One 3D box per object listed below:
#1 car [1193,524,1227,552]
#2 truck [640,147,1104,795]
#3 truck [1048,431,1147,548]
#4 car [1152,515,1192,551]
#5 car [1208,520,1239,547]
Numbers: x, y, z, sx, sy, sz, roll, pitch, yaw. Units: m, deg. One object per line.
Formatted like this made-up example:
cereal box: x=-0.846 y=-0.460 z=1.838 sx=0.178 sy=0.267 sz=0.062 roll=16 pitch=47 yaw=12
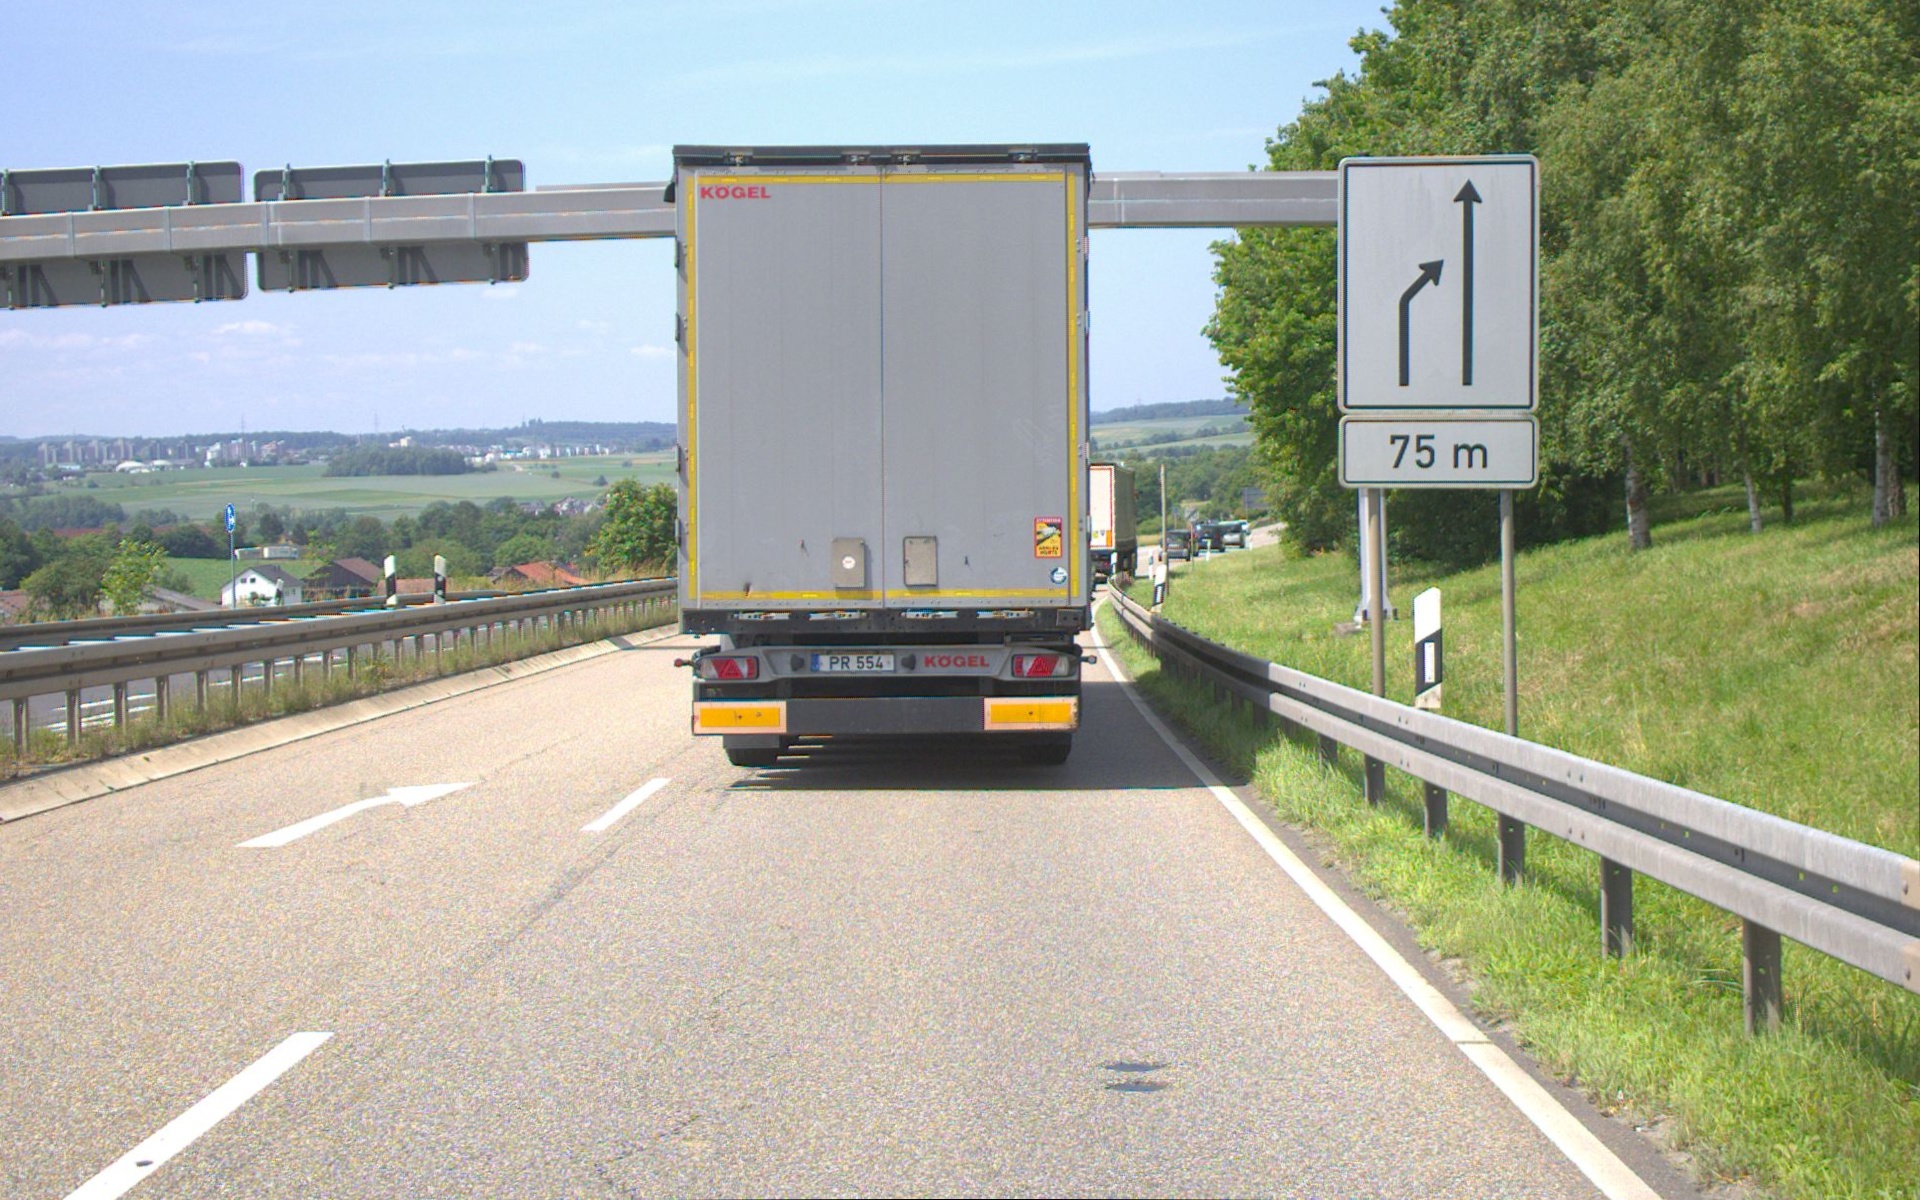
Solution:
car: x=15.180 y=-3.759 z=208.800 sx=1.786 sy=1.682 sz=4.000 roll=0 pitch=0 yaw=1
truck: x=-0.465 y=-0.887 z=26.462 sx=2.799 sy=3.916 sz=11.342 roll=0 pitch=1 yaw=1
truck: x=4.827 y=-3.720 z=118.748 sx=2.656 sy=3.752 sz=10.159 roll=0 pitch=0 yaw=6
car: x=10.572 y=-3.338 z=171.900 sx=1.786 sy=1.682 sz=4.000 roll=0 pitch=0 yaw=1
car: x=17.542 y=-4.408 z=228.764 sx=1.786 sy=1.682 sz=4.000 roll=0 pitch=0 yaw=1
